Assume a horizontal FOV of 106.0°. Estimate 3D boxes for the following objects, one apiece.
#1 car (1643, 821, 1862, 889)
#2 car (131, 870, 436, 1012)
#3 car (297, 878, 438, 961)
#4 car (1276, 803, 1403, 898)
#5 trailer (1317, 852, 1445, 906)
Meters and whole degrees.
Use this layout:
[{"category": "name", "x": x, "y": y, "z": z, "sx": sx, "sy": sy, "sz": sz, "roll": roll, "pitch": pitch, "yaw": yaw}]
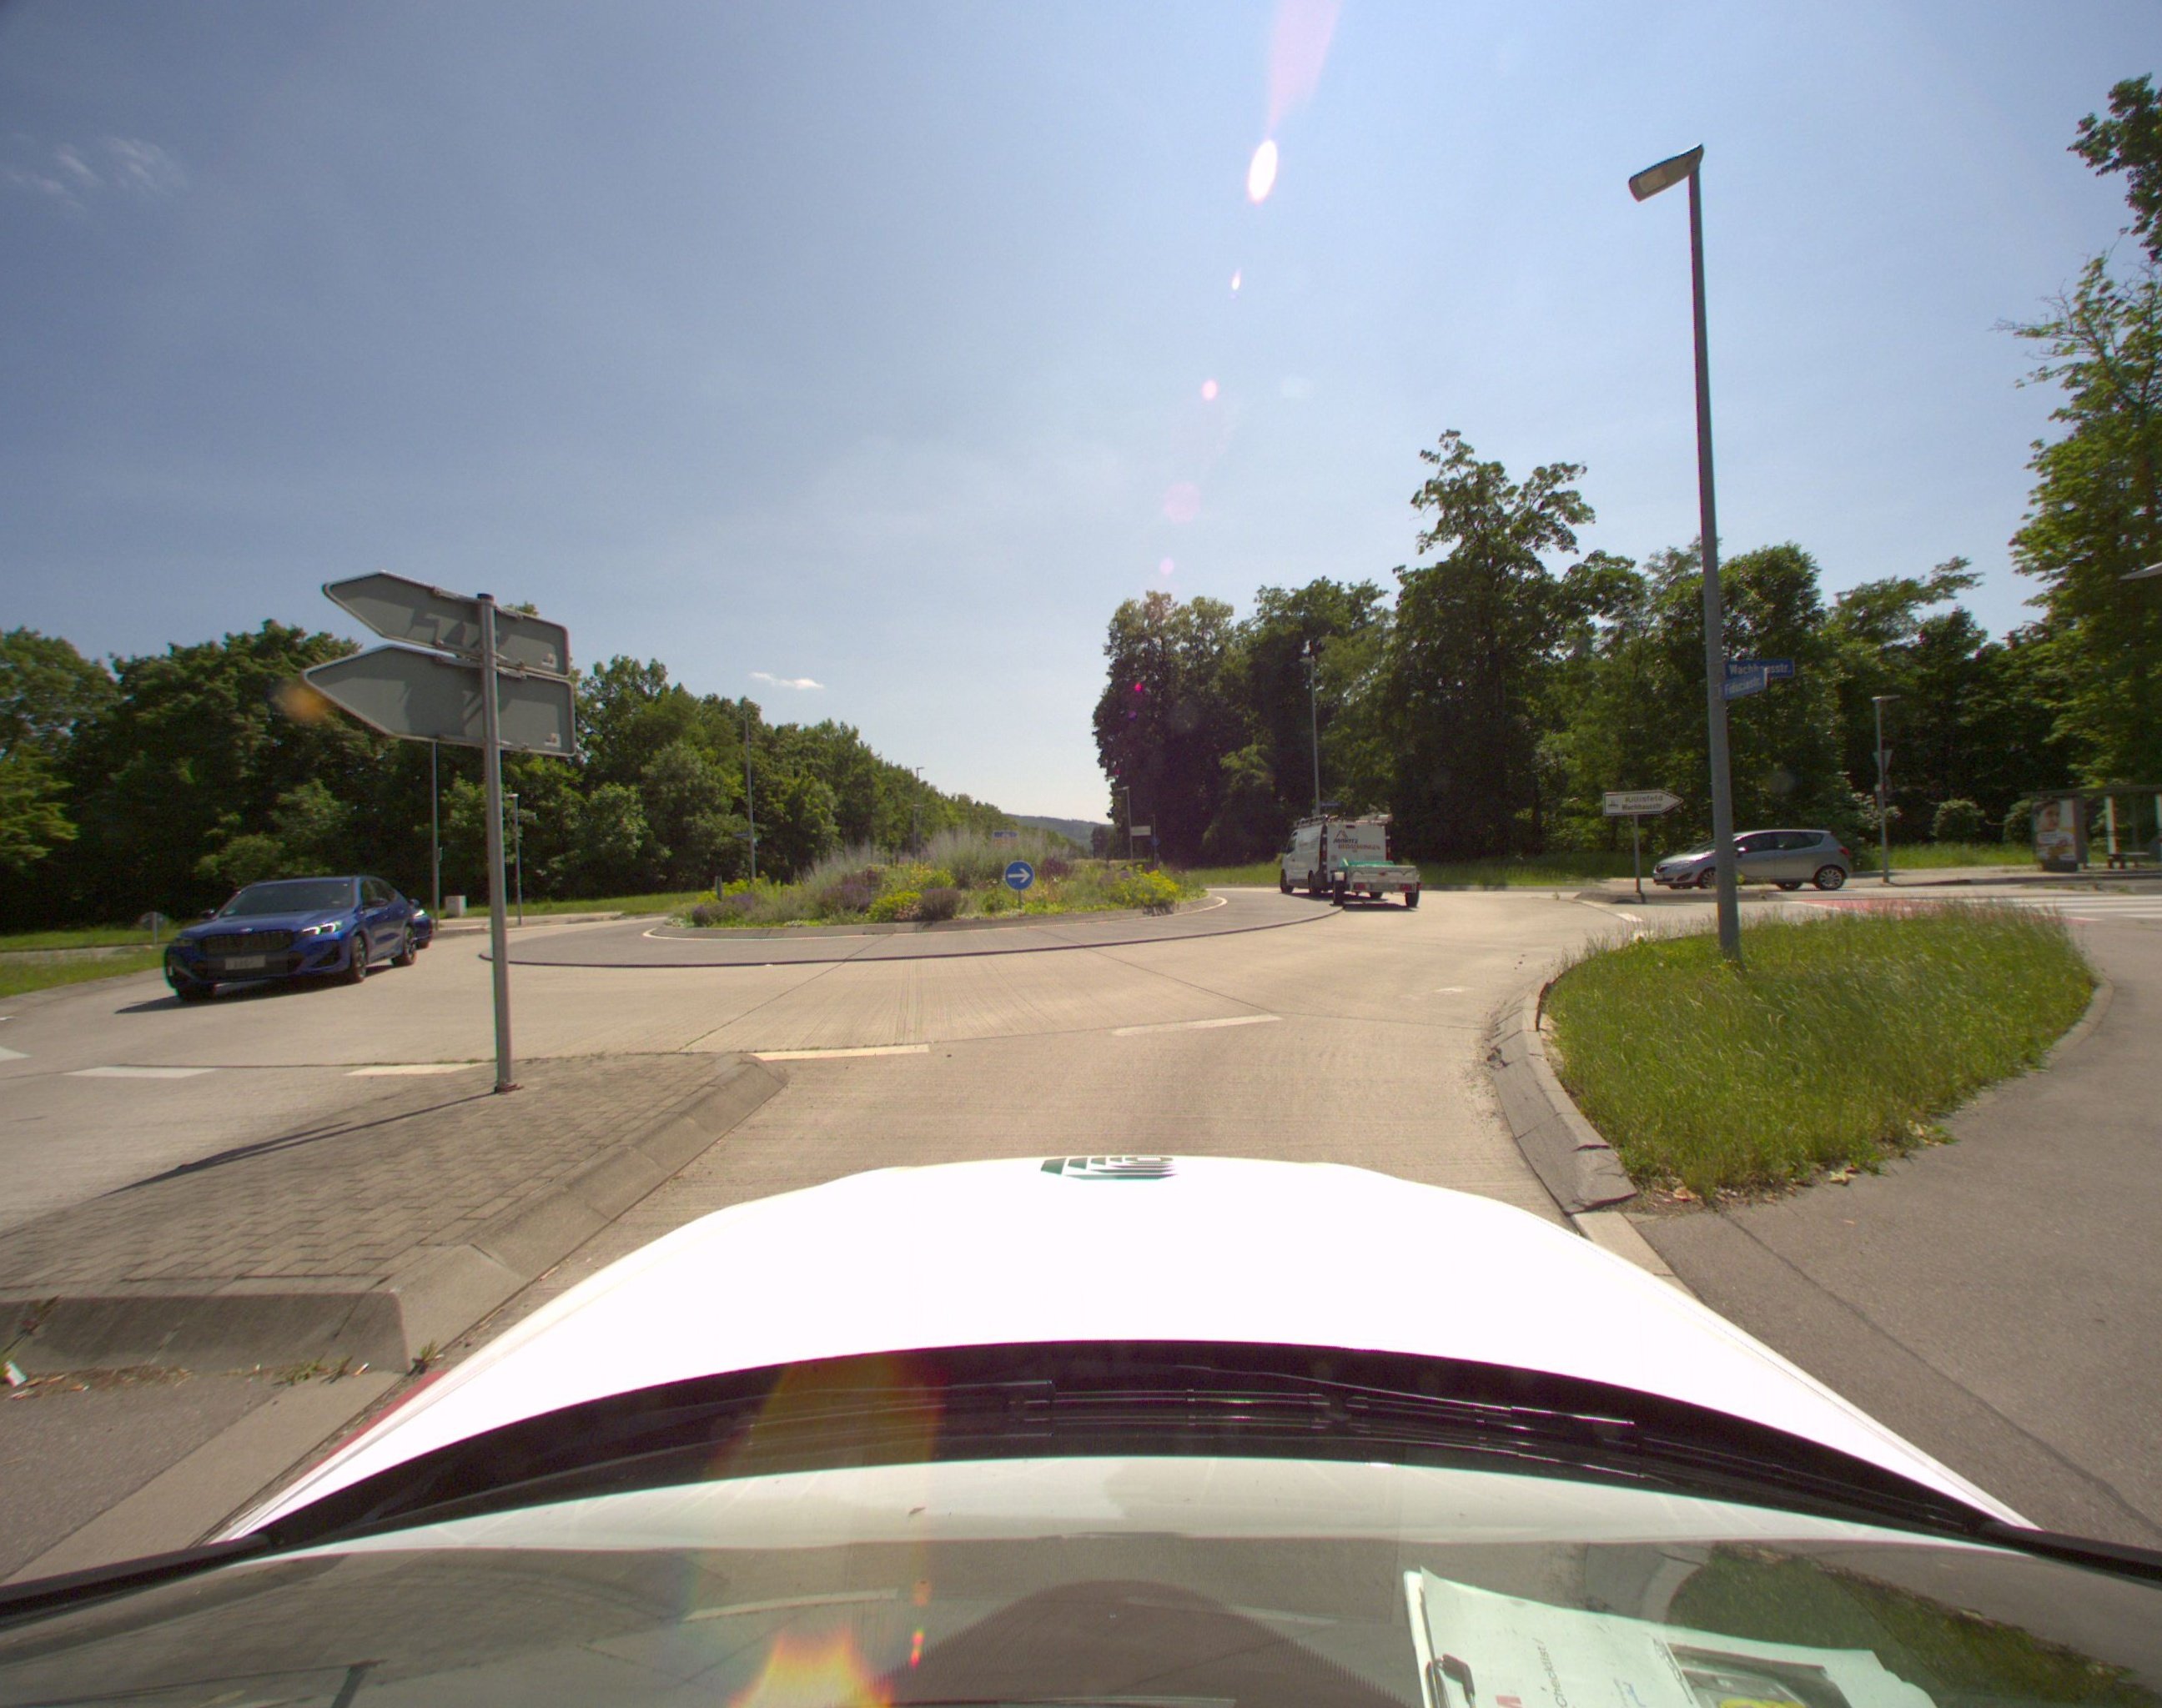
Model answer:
[{"category": "car", "x": 17.569, "y": 0.046, "z": 21.522, "sx": 4.086, "sy": 1.607, "sz": 1.796, "roll": -2, "pitch": -1, "yaw": 12}, {"category": "car", "x": -11.855, "y": 1.137, "z": 12.560, "sx": 2.004, "sy": 1.595, "sz": 4.285, "roll": -4, "pitch": 1, "yaw": -26}, {"category": "car", "x": -17.004, "y": 1.459, "z": 19.318, "sx": 4.697, "sy": 1.640, "sz": 2.012, "roll": -3, "pitch": 0, "yaw": 43}, {"category": "car", "x": 7.051, "y": -0.051, "z": 22.821, "sx": 2.157, "sy": 2.316, "sz": 4.985, "roll": -1, "pitch": -1, "yaw": 3}, {"category": "trailer", "x": 6.754, "y": 0.543, "z": 18.725, "sx": 2.109, "sy": 1.097, "sz": 3.363, "roll": -2, "pitch": -1, "yaw": 9}]
